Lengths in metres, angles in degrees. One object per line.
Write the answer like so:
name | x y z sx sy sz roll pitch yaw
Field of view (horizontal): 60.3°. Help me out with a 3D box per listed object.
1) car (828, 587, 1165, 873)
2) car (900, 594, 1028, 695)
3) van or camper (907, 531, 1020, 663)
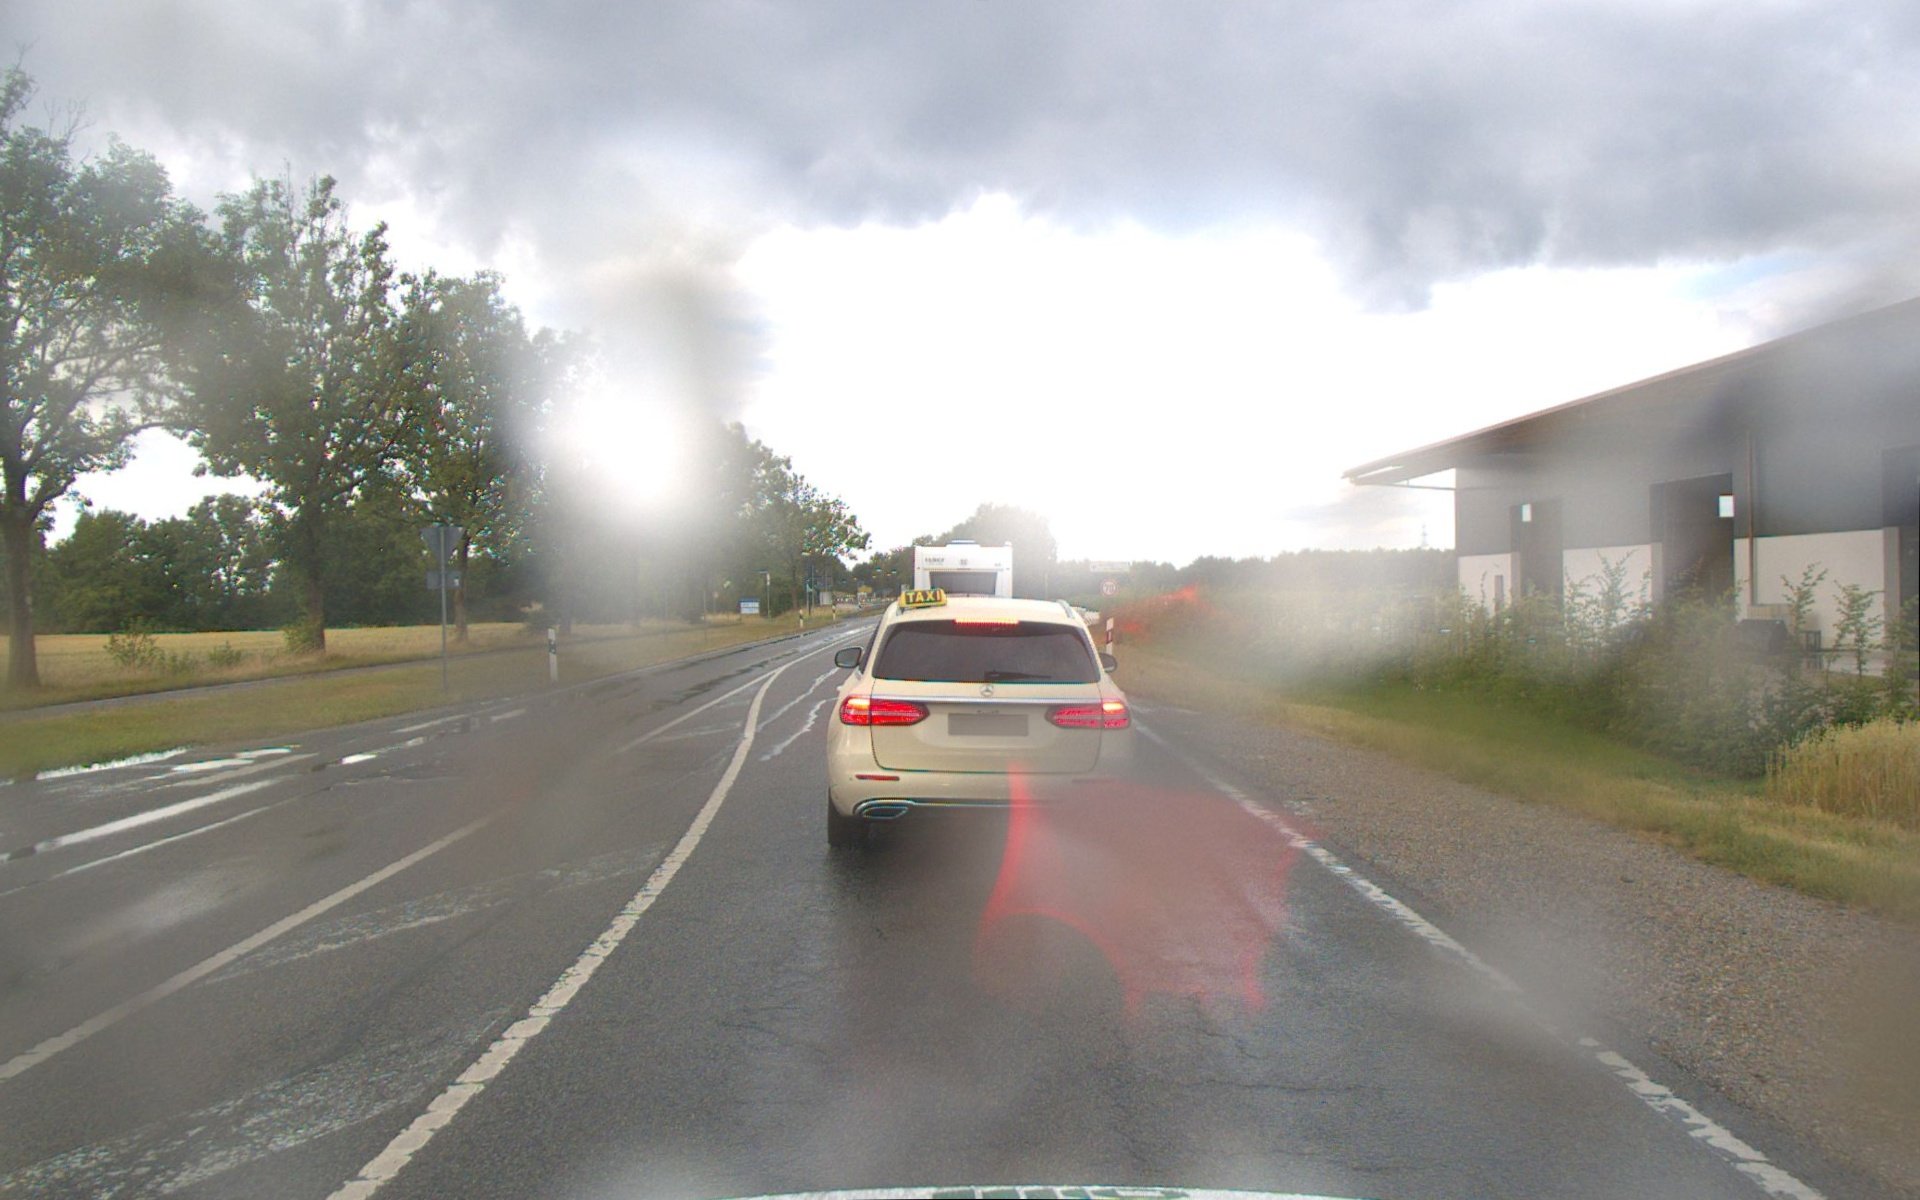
car | 0.192 0.675 10.703 1.760 1.490 4.030 0 0 0
car | 0.038 0.641 25.991 1.856 1.454 3.927 0 0 -1
van or camper | 0.103 -0.061 39.974 2.446 2.880 5.934 -2 0 0
